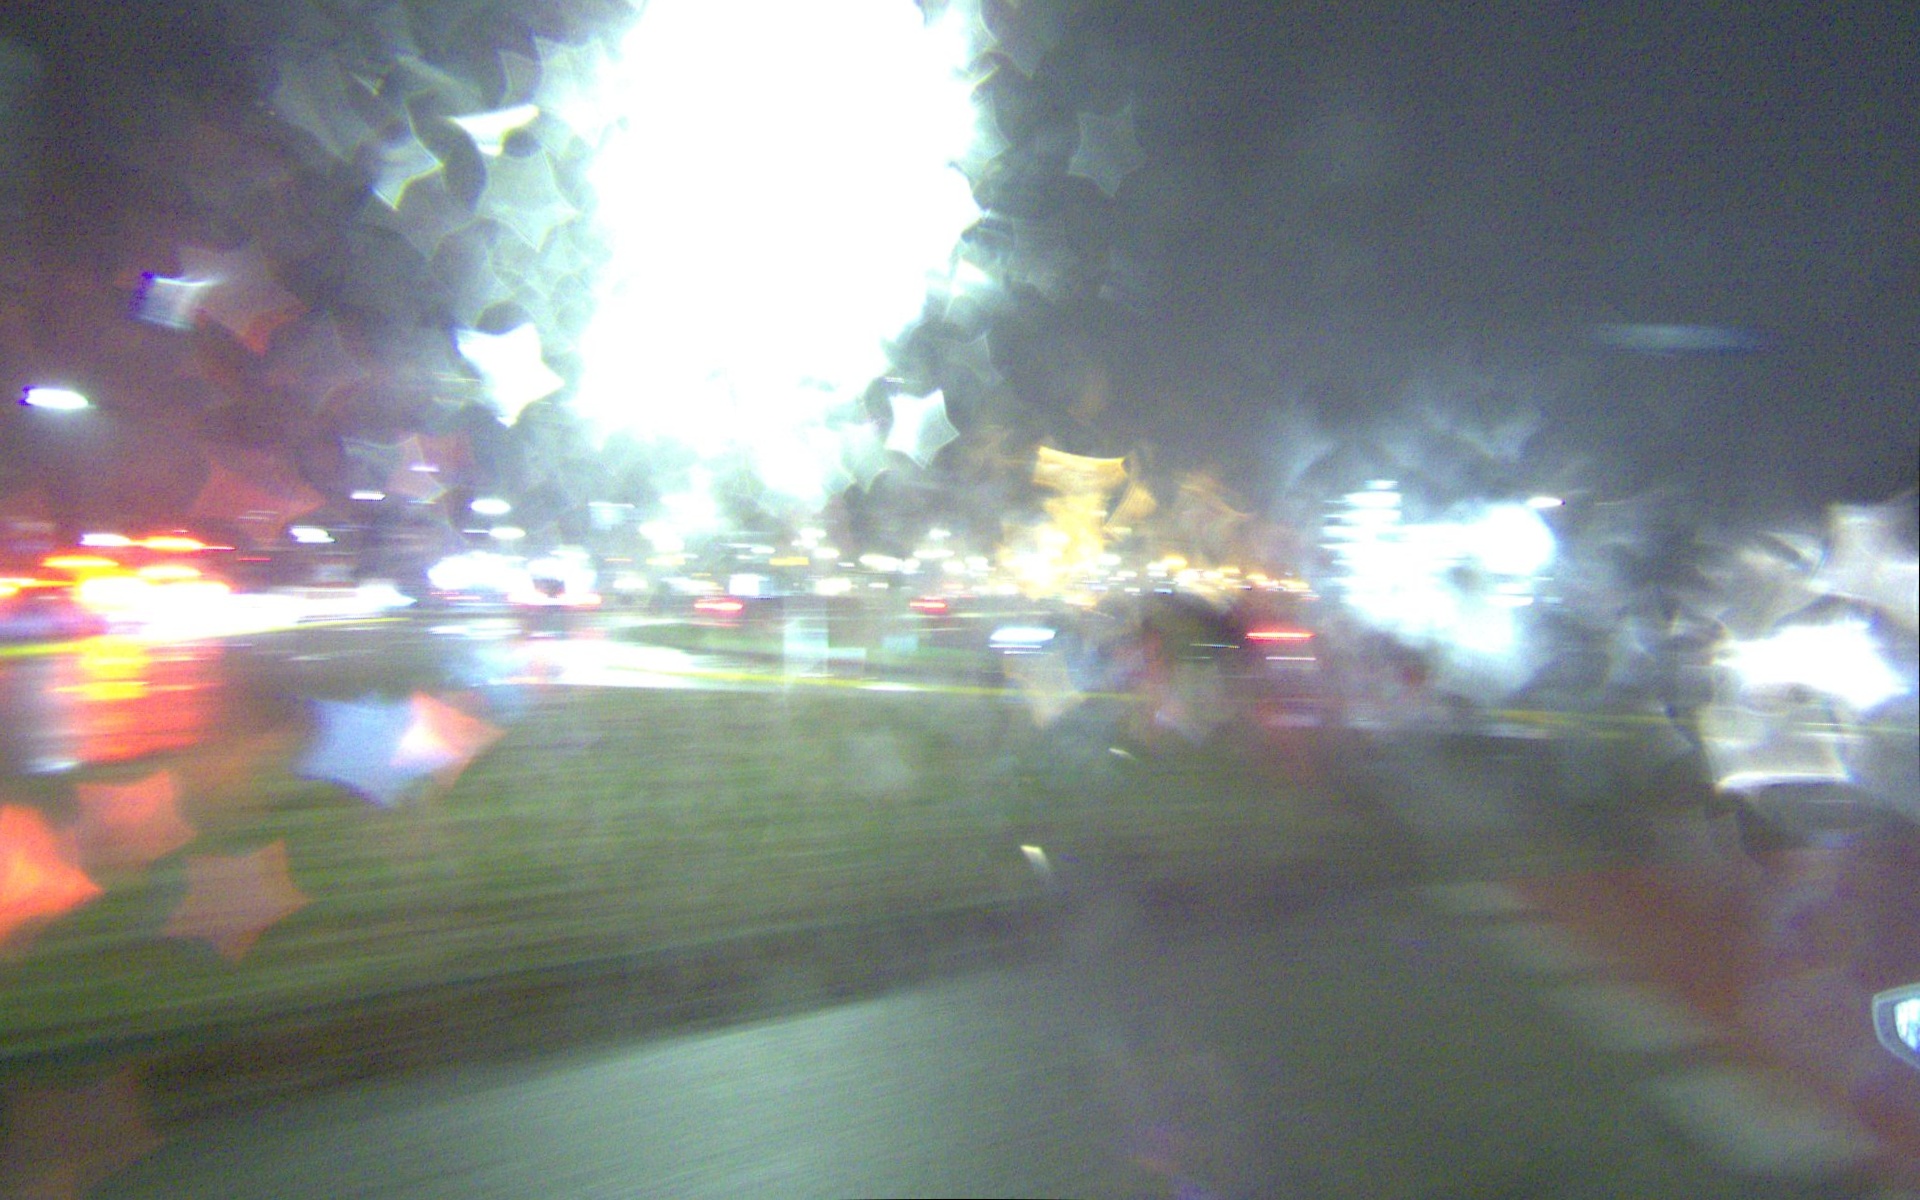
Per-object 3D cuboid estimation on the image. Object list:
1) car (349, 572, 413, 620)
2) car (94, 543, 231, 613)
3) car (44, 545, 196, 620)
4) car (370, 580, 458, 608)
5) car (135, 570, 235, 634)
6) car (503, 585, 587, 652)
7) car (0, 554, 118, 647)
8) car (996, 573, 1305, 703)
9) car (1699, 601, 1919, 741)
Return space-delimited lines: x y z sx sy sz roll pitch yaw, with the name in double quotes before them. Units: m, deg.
"car" -20.202 -0.156 35.004 1.750 1.506 3.963 0 2 -33
"car" -26.885 -0.795 33.768 6.220 2.117 2.503 3 2 41
"car" -19.778 -0.439 23.848 1.713 1.600 3.941 1 2 -24
"car" -29.754 -0.311 54.811 3.984 1.464 1.812 0 2 -39
"car" -21.997 0.010 28.638 1.816 1.638 3.965 1 2 -31
"car" -11.849 0.465 28.545 1.840 1.662 3.862 1 2 -28
"car" -17.992 -0.059 19.026 1.848 1.600 3.946 1 2 -20
"car" 3.023 0.520 16.053 4.526 1.759 2.001 2 2 15
"car" 13.414 0.993 14.220 4.305 1.782 1.879 2 2 12
